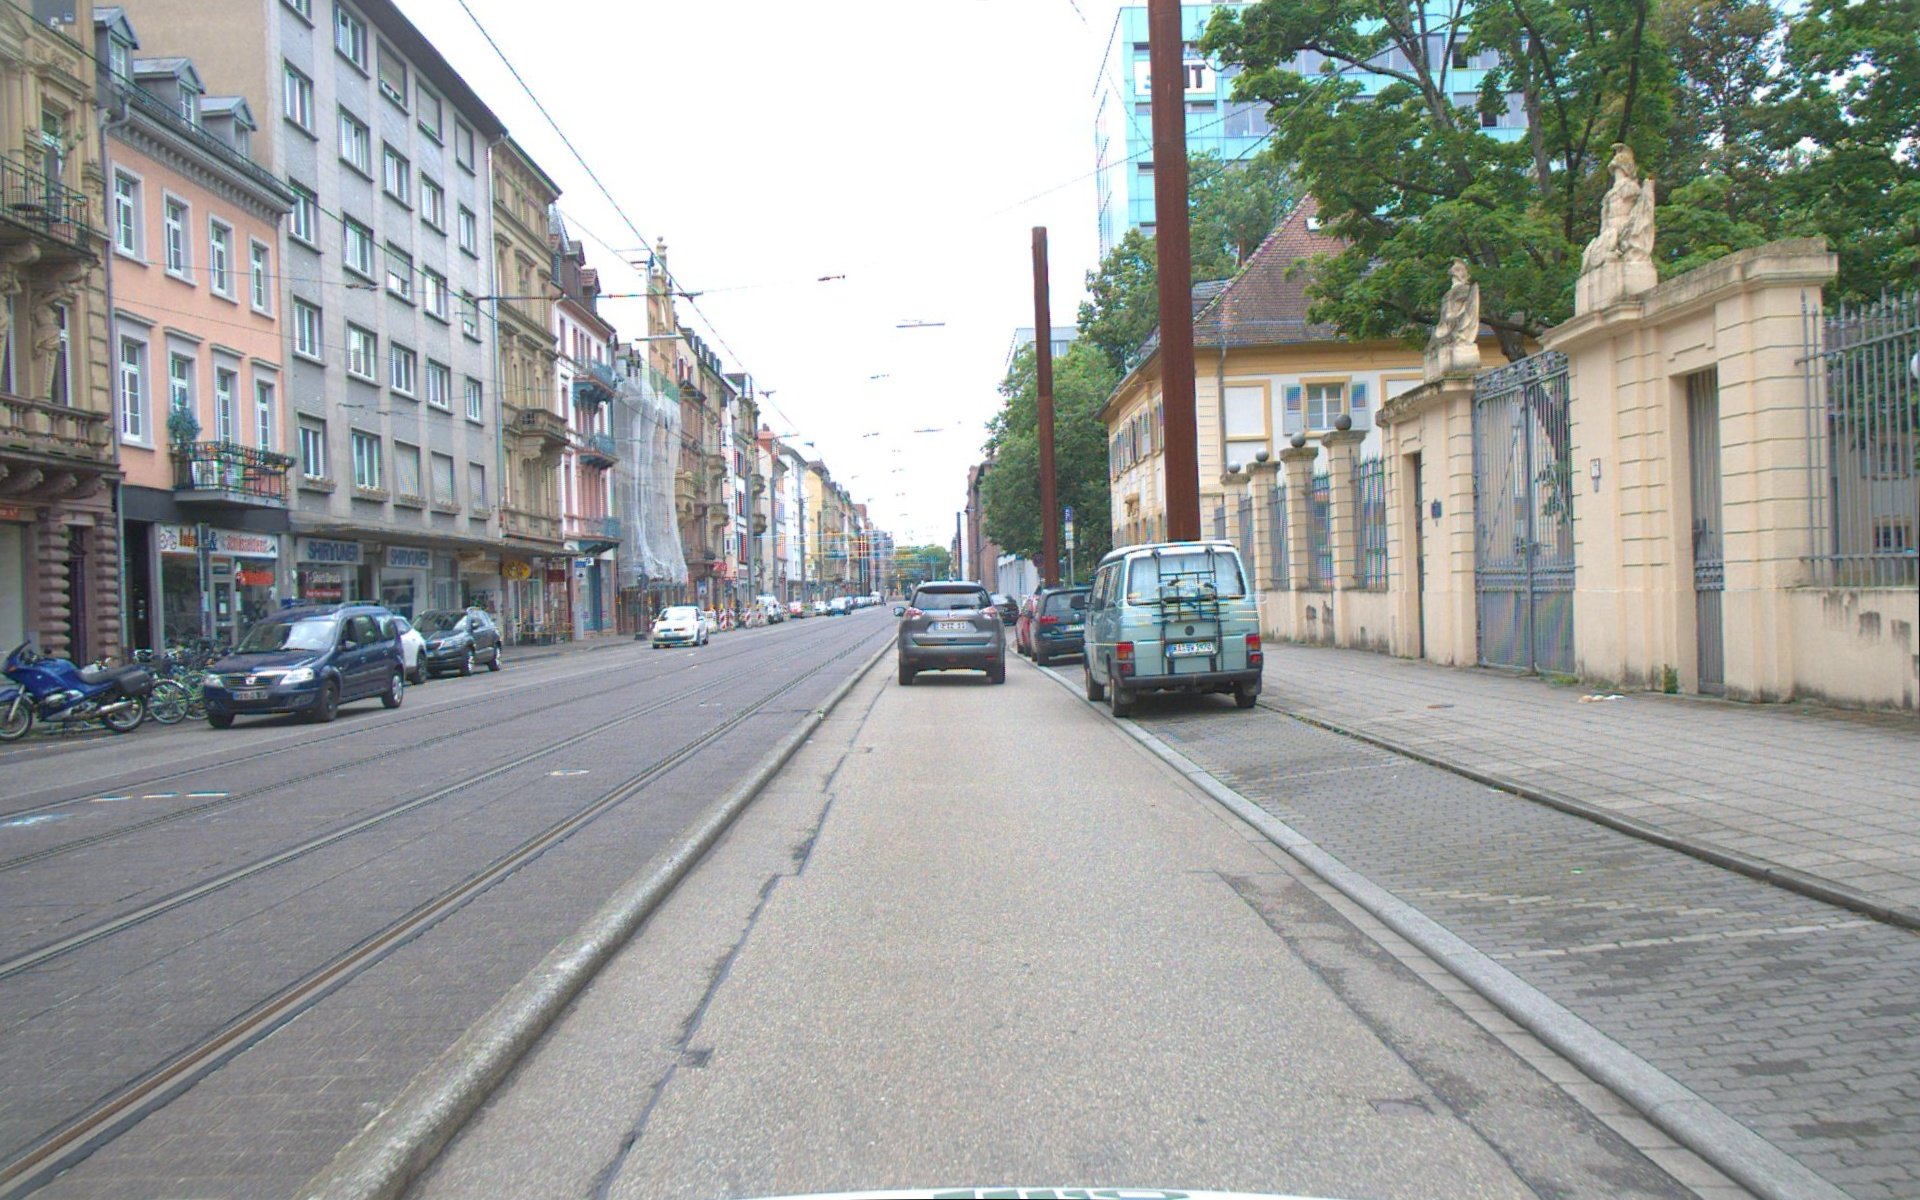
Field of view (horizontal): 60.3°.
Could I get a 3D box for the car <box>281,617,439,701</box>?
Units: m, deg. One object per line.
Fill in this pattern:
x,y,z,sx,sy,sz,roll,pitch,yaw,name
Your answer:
-12.442,1.181,34.600,1.740,1.531,4.400,-2,0,-1,car

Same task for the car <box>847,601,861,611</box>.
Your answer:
-15.662,0.928,243.990,1.954,1.288,3.996,-2,-1,-4,car

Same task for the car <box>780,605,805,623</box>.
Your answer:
-14.250,1.201,140.584,1.954,1.490,3.996,-2,-1,-4,car

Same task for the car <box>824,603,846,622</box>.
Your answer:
-11.545,1.134,153.154,1.954,1.663,3.996,-2,-1,-4,car

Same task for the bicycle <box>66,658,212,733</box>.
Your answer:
-12.365,1.435,24.936,1.886,1.018,0.462,-2,0,-9,bicycle

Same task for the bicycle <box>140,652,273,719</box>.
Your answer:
-12.605,1.428,27.708,1.929,1.018,0.462,-2,0,-9,bicycle

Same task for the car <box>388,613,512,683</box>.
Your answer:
-12.517,1.141,40.847,1.740,1.531,4.400,-2,0,-1,car

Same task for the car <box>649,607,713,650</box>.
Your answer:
-10.087,1.010,60.027,1.653,1.445,4.134,-2,0,-1,car

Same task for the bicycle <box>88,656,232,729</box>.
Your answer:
-12.407,1.425,25.694,1.929,1.018,0.462,-2,0,-9,bicycle

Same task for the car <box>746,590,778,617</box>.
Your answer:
-13.719,0.255,114.849,1.954,1.736,3.996,-2,-1,-4,car

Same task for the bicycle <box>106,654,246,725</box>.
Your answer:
-12.503,1.417,26.401,1.929,1.018,0.462,-2,0,-9,bicycle

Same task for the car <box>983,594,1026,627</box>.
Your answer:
2.047,0.484,77.121,1.740,1.445,4.134,-2,0,-1,car

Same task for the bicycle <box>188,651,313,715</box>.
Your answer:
-12.516,1.458,29.211,1.929,1.018,0.462,-2,0,-9,bicycle

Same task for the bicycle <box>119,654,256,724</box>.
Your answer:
-12.551,1.439,26.896,1.929,1.018,0.462,-2,0,-9,bicycle

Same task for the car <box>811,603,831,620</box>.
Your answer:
-14.379,1.206,171.266,1.954,1.663,3.996,-2,-1,-4,car

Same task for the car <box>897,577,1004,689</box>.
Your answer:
-0.193,0.525,28.566,1.714,1.786,3.922,0,0,-1,car

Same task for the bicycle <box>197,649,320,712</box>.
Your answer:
-12.603,1.447,29.747,1.929,1.018,0.462,-2,0,-9,bicycle

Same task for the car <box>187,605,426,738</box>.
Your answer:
-9.577,0.972,24.670,1.723,1.701,4.613,-2,0,-1,car

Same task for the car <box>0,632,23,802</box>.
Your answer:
-9.241,1.065,12.479,1.723,1.474,4.613,-2,0,-1,car

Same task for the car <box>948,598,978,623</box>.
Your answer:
0.149,0.625,102.896,1.740,1.445,4.134,-2,0,-1,car

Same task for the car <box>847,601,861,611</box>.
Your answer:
-15.307,0.819,239.143,1.954,1.288,3.996,-2,-1,-4,car

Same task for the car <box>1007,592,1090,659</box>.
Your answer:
2.196,0.618,42.074,1.715,1.466,3.922,-5,0,-1,car

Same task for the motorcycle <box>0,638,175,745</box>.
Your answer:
-12.263,1.242,22.948,2.320,1.325,0.871,-2,0,-38,motorcycle

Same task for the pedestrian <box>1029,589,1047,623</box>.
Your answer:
4.449,0.329,94.355,0.892,1.919,0.846,-2,-1,-1,pedestrian

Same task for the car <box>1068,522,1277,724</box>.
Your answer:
2.589,0.257,21.374,1.814,2.151,4.983,-5,0,-1,car

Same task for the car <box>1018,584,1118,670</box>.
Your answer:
2.281,0.554,35.747,1.715,1.623,3.922,-5,0,-1,car
